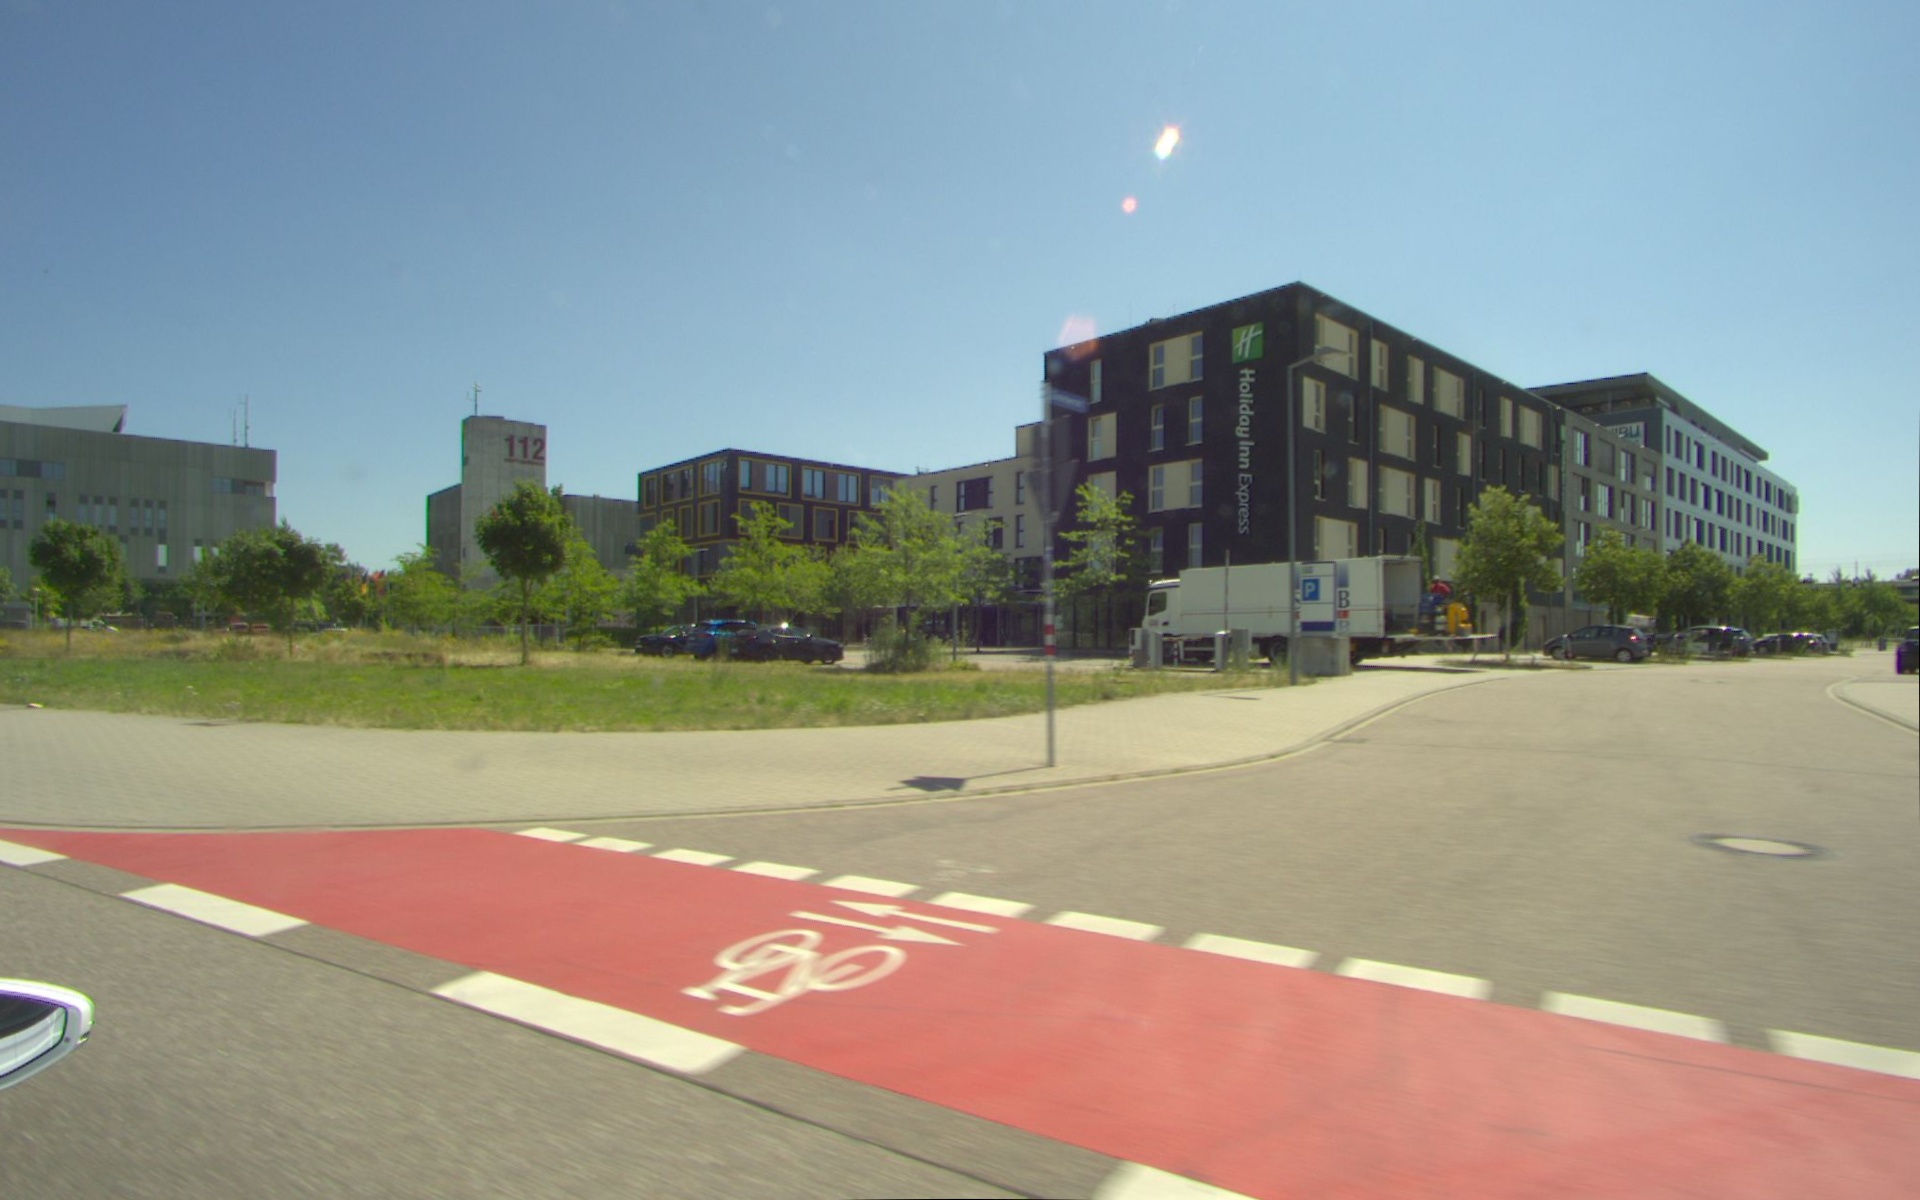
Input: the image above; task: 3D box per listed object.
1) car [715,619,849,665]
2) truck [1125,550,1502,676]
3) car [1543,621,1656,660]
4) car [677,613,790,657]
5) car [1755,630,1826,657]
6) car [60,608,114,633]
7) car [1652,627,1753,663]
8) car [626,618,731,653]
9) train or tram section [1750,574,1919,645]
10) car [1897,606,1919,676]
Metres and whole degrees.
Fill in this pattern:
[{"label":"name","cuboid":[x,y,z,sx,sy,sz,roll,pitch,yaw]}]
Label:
[{"label":"car","cuboid":[-6.433,1.508,36.445,4.464,1.582,2.012,2,-2,-44]},{"label":"truck","cuboid":[11.090,0.448,33.353,2.985,3.507,12.037,-1,0,-40]},{"label":"car","cuboid":[25.833,1.622,40.498,1.678,1.472,3.548,1,-1,-43]},{"label":"car","cuboid":[-9.082,1.387,40.265,4.030,1.673,1.937,2,-2,-43]},{"label":"car","cuboid":[56.742,2.938,68.440,1.603,1.722,3.621,1,-1,-44]},{"label":"car","cuboid":[-83.573,1.978,95.896,3.815,2.324,1.727,2,-1,-42]},{"label":"car","cuboid":[38.383,2.296,51.818,1.659,1.722,3.979,1,-1,-43]},{"label":"car","cuboid":[-12.326,1.543,43.996,1.940,1.463,4.093,-1,-2,42]},{"label":"train or tram section","cuboid":[141.606,1.448,142.917,9.484,10.052,44.465,2,-2,-36]},{"label":"car","cuboid":[29.507,1.228,29.771,3.871,2.039,1.866,2,-2,-38]}]
